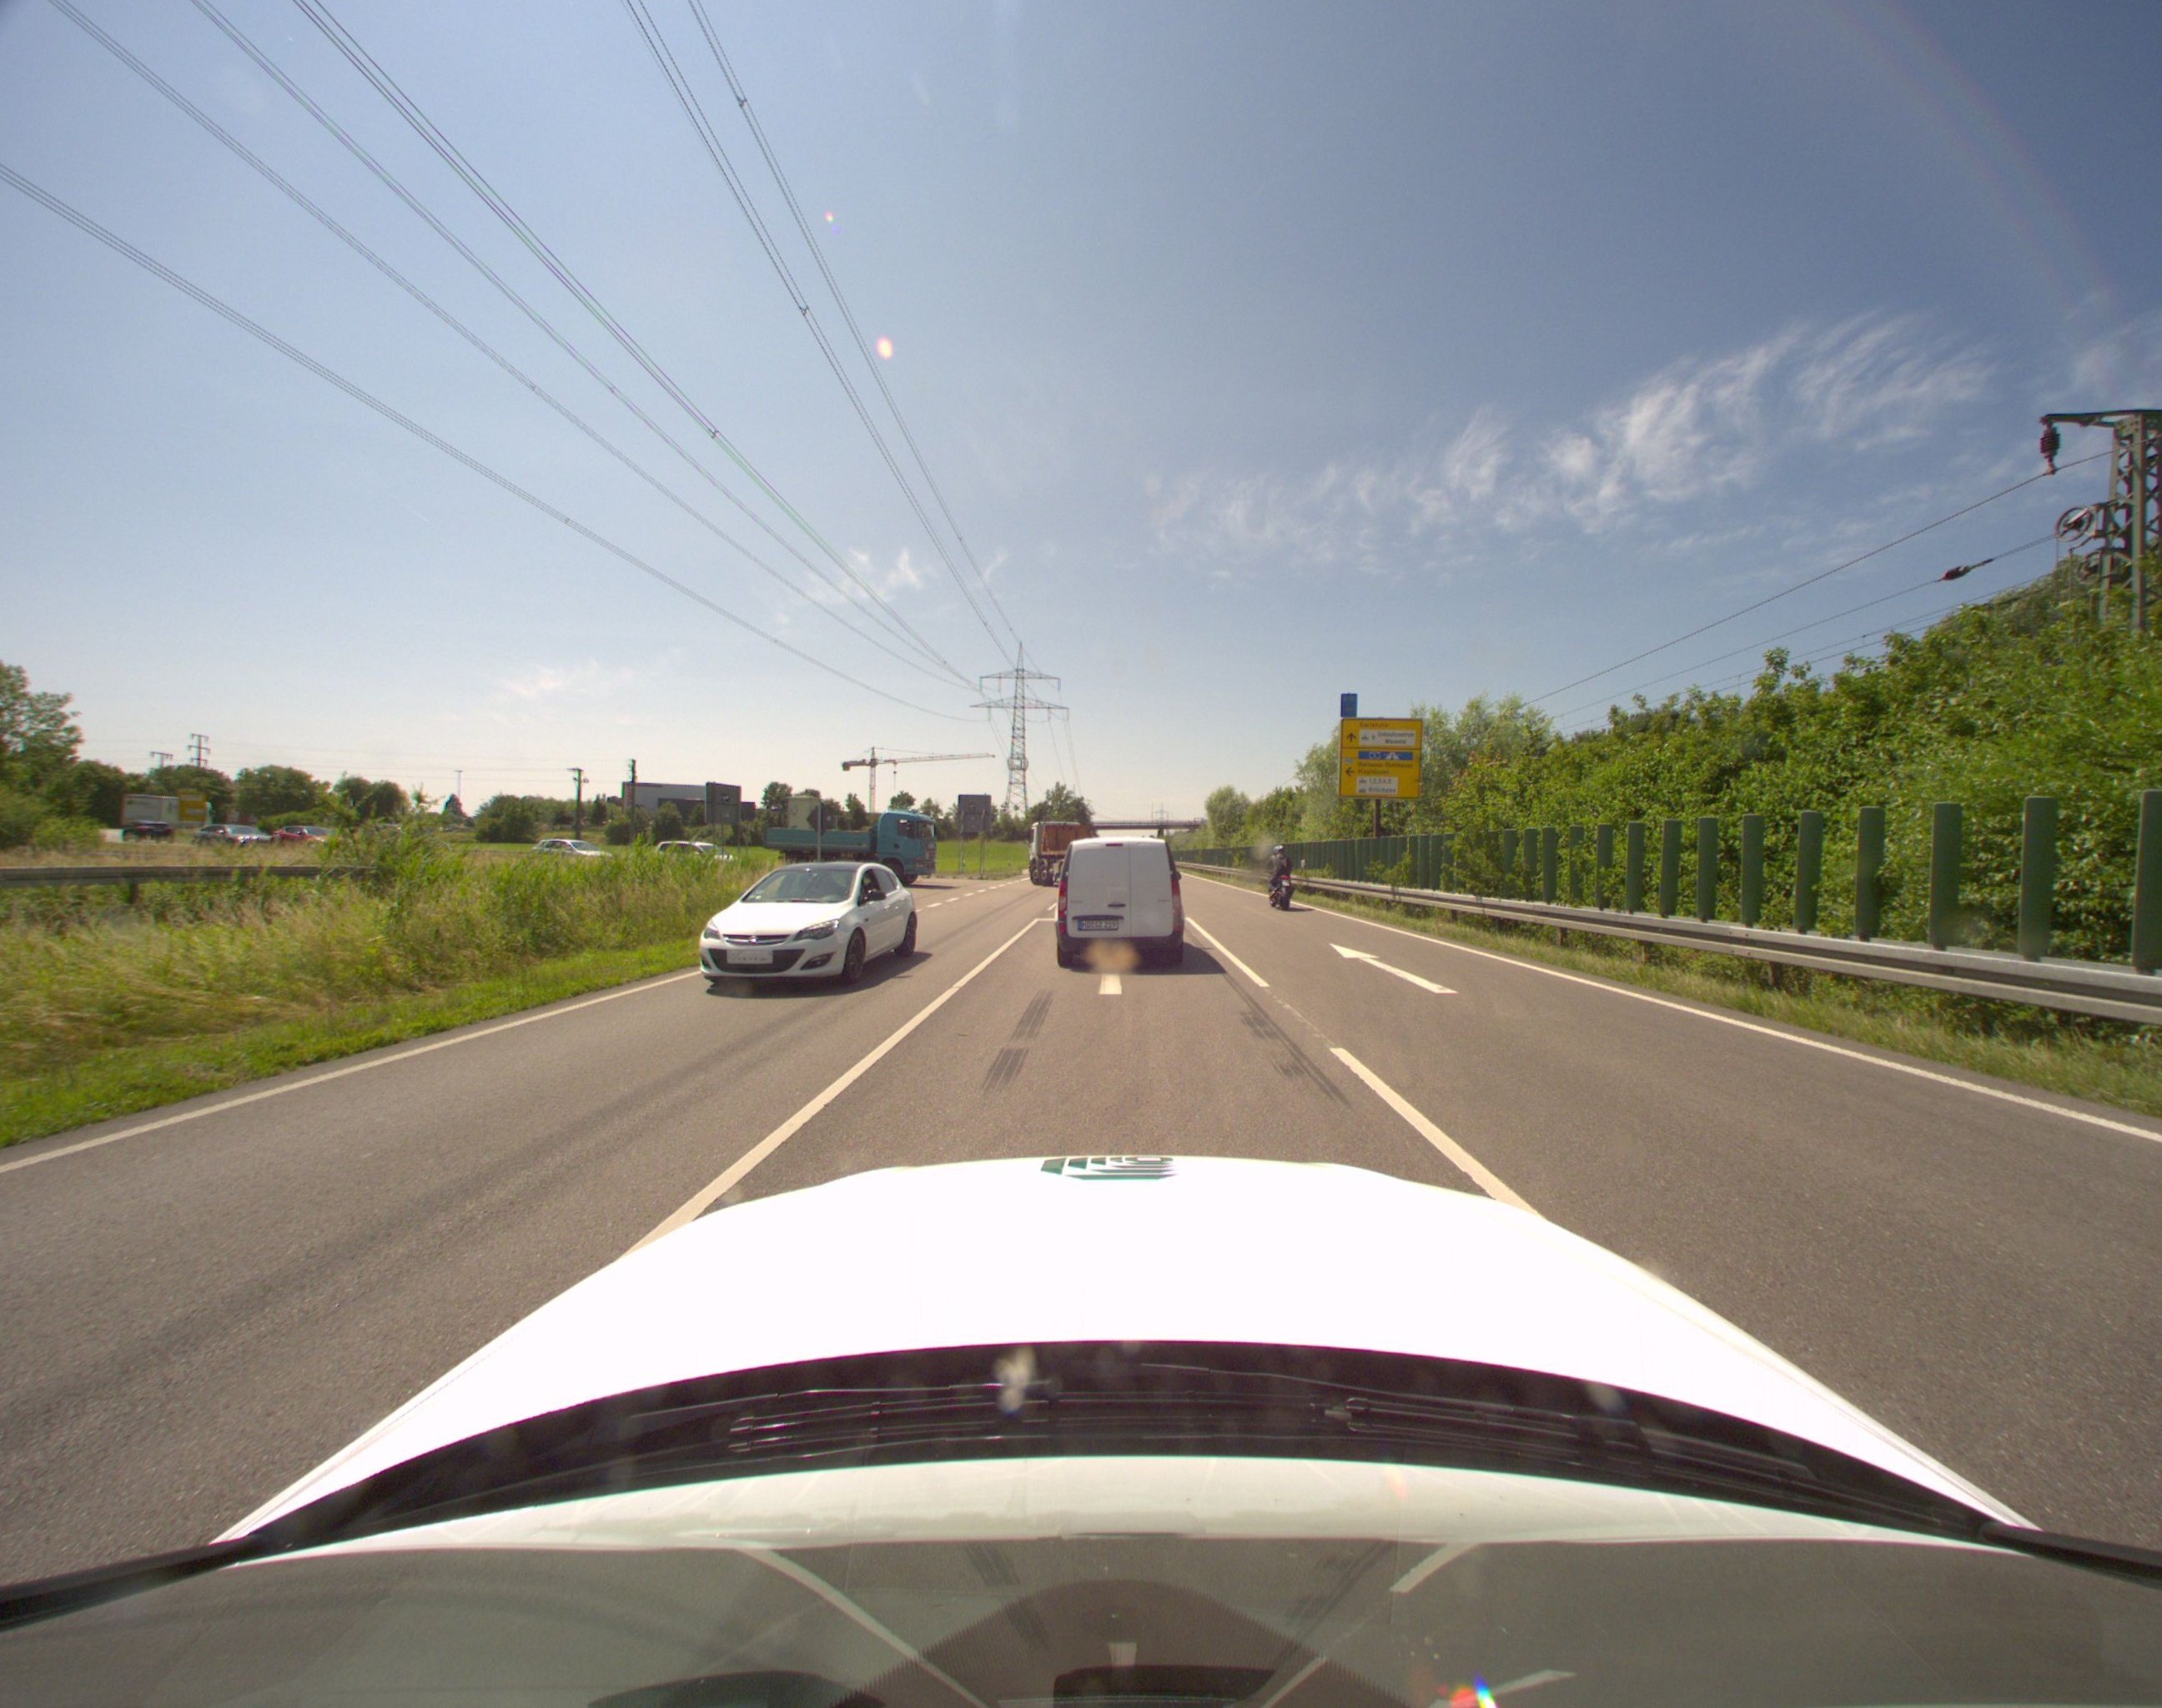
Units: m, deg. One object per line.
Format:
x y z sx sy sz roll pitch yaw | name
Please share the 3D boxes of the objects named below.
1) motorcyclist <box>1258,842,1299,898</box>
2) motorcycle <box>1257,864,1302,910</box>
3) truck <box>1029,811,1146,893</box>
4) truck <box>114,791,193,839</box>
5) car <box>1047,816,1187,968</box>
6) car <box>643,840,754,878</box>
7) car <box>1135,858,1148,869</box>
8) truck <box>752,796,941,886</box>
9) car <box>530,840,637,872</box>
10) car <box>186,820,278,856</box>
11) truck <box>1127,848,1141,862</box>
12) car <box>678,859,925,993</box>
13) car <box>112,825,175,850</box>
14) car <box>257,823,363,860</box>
5.293 0.423 21.879 0.886 1.476 1.002 0 0 1 | motorcyclist
5.301 0.865 21.874 0.787 1.157 1.902 0 0 1 | motorcycle
-0.019 -0.139 37.709 2.826 3.288 9.648 0 1 -16 | truck
-99.225 -4.043 87.392 3.709 4.646 13.085 1 0 -40 | truck
0.549 0.500 12.674 1.820 1.971 4.002 -1 0 2 | car
-17.990 0.206 38.345 4.506 1.612 1.977 1 0 17 | car
8.948 1.378 120.126 1.841 1.574 4.003 -1 0 3 | car
-10.730 -0.599 37.717 7.867 3.734 2.501 2 0 4 | truck
-24.068 0.087 39.432 4.401 1.470 1.724 1 0 13 | car
-46.928 -0.885 45.030 3.959 1.901 1.665 1 0 13 | car
10.005 0.177 155.009 2.365 2.689 8.014 1 0 2 | truck
-3.502 0.805 11.134 1.718 1.441 4.252 0 0 3 | car
-67.314 -1.138 58.493 3.950 1.679 2.012 0 0 26 | car
-41.080 -0.650 43.399 4.437 1.849 1.923 1 0 13 | car
